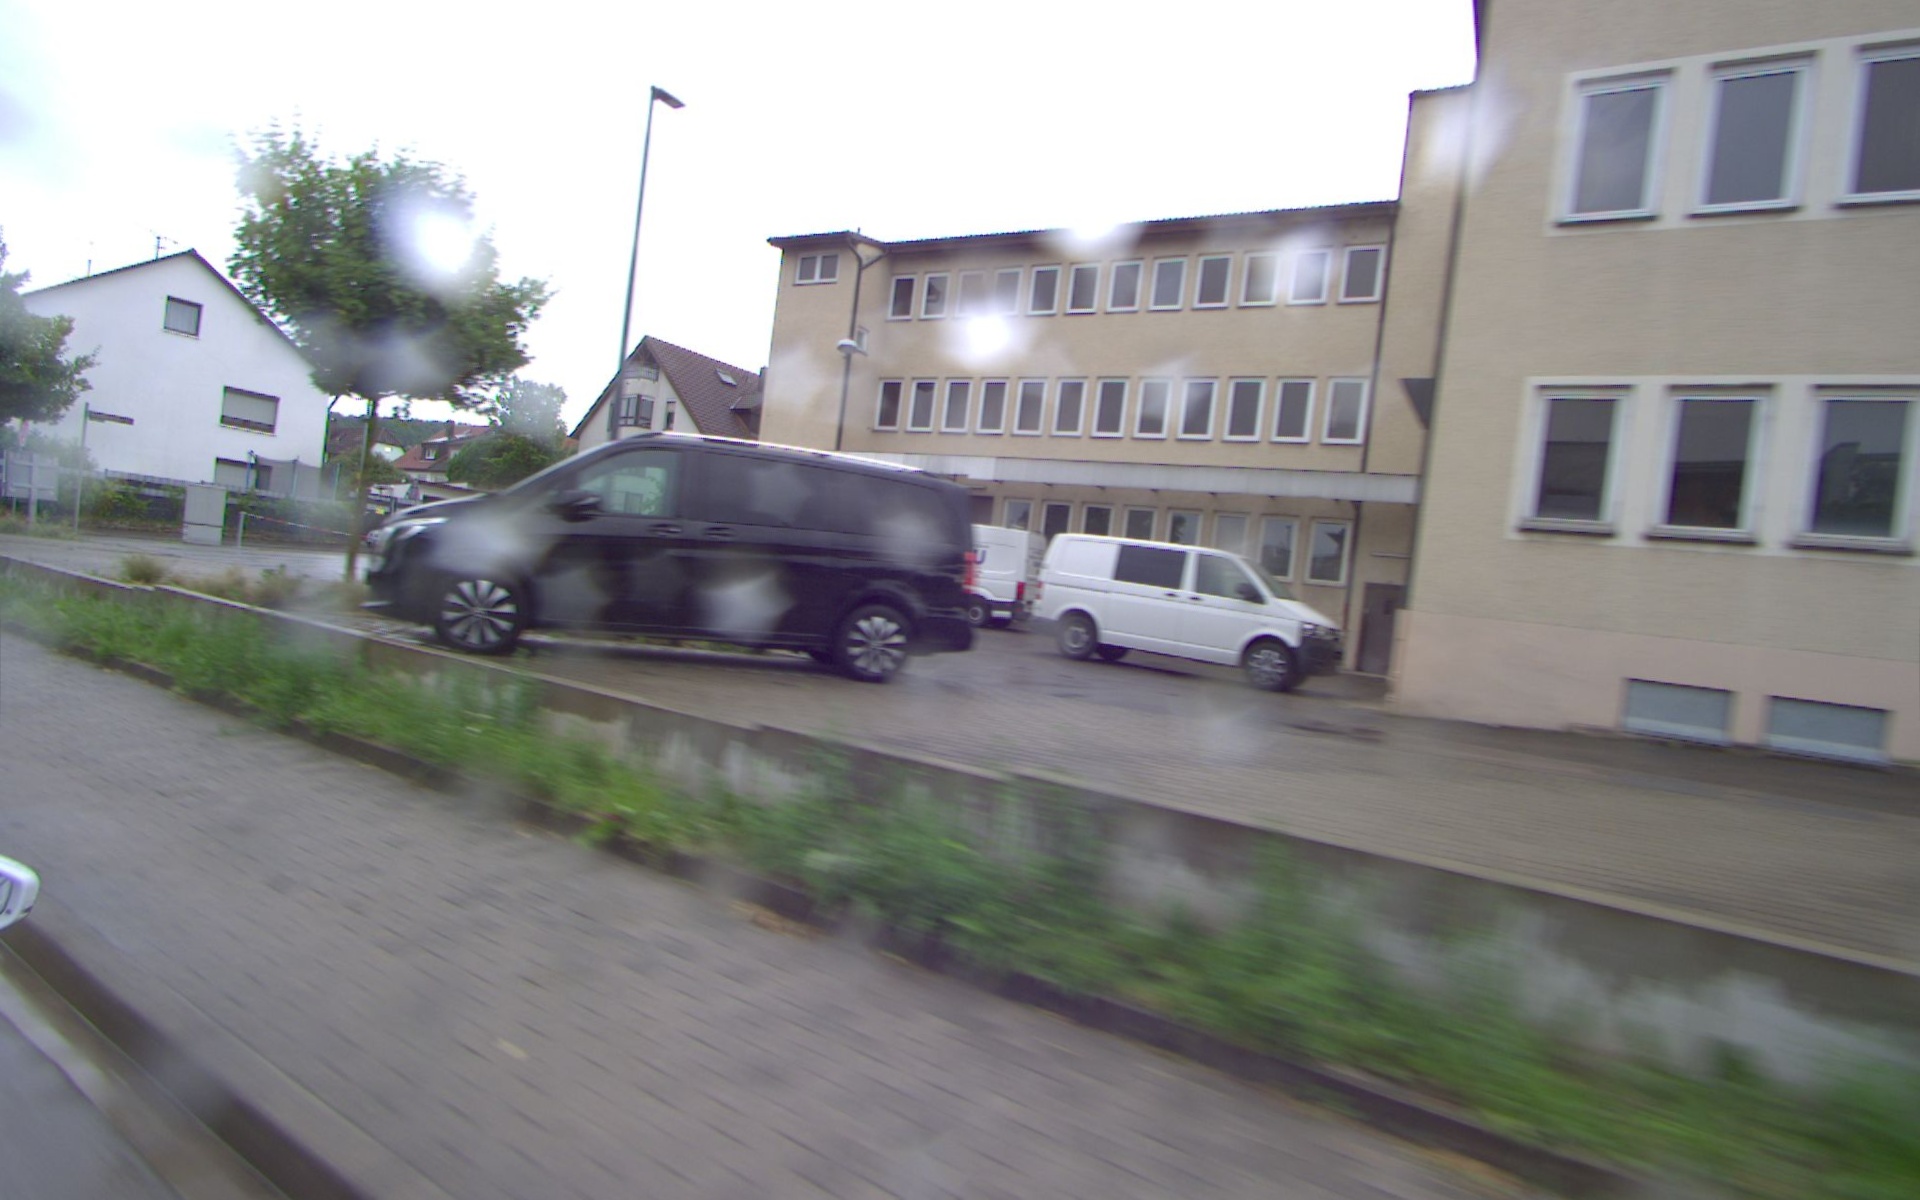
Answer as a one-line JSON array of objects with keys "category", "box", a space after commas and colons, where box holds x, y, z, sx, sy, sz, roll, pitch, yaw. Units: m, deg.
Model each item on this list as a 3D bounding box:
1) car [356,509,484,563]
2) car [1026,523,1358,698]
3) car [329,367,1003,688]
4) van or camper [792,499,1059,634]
[{"category": "car", "box": [-19.746, -2.330, 36.897, 1.584, 1.473, 3.766, 7, 1, 36]}, {"category": "car", "box": [3.566, 0.116, 15.671, 4.521, 2.039, 1.796, 8, 1, 29]}, {"category": "car", "box": [-2.403, -0.468, 8.986, 5.044, 1.944, 2.043, 6, 1, -22]}, {"category": "van or camper", "box": [-0.946, -0.890, 26.543, 6.482, 2.567, 2.001, 9, 0, 21]}]
